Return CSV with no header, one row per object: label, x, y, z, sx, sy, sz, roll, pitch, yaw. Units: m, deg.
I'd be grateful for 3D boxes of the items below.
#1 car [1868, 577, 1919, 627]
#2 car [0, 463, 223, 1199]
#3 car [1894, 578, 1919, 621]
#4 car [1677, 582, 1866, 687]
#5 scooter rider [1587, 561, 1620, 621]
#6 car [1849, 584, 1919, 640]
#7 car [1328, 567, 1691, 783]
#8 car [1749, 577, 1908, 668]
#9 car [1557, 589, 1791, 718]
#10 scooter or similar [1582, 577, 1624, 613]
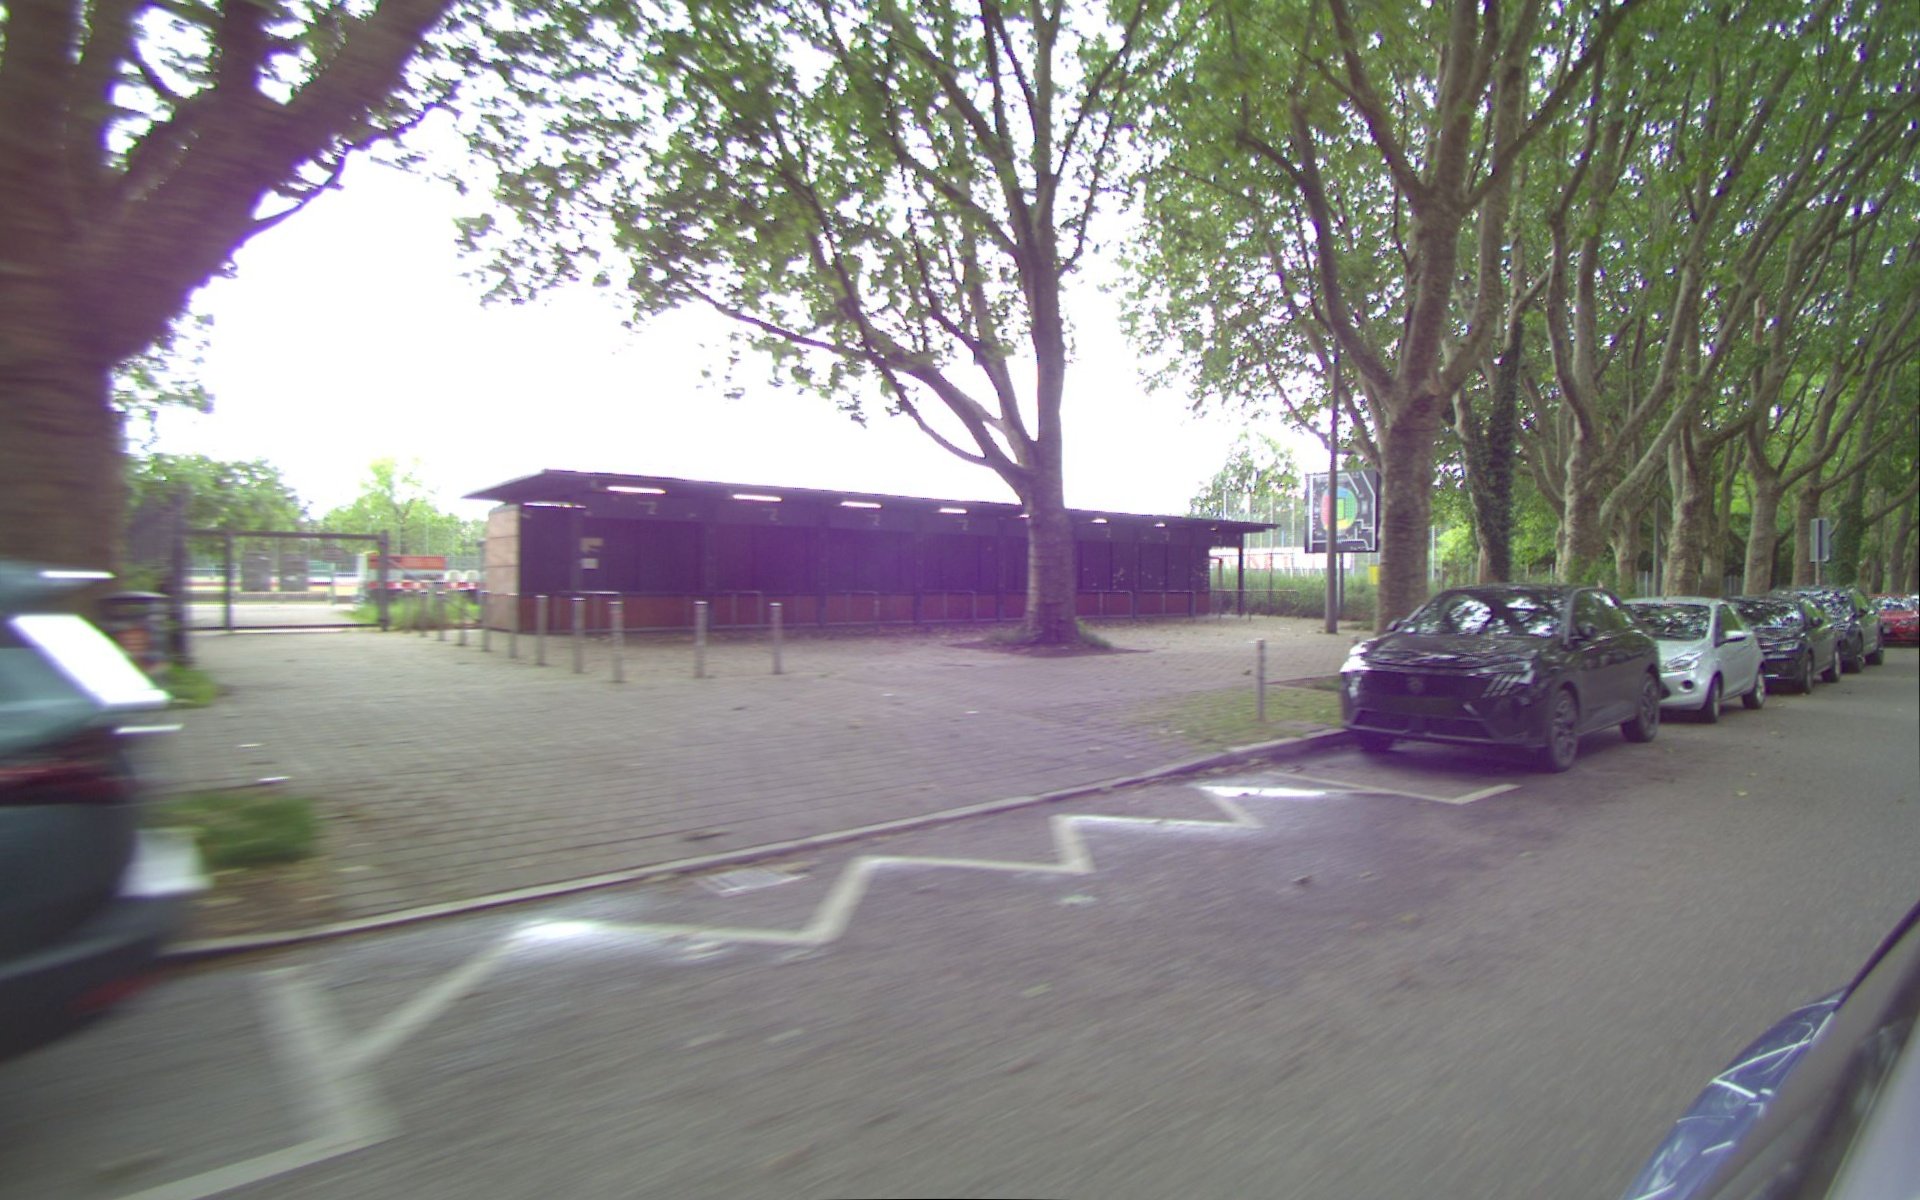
car,30.069,0.048,31.769,4.007,1.489,1.733,-1,-1,-40
car,-4.078,0.591,1.612,4.552,1.720,1.709,-1,0,-42
car,33.705,-0.035,34.913,4.051,1.456,1.738,-1,1,-41
car,13.579,0.497,16.841,4.277,1.528,1.671,-1,0,-41
scooter rider,20.241,-0.292,31.827,0.577,1.822,0.678,0,3,-40
car,26.270,0.289,28.370,4.554,1.457,1.717,-1,-1,-45
car,5.658,0.543,10.146,4.558,1.694,1.780,-1,1,-42
car,17.456,0.392,20.276,4.361,1.640,1.758,-1,0,-41
car,9.504,0.610,13.379,3.644,1.460,1.619,-1,-1,-40
scooter or similar,20.202,-0.163,31.797,1.441,1.050,0.682,0,4,-41
